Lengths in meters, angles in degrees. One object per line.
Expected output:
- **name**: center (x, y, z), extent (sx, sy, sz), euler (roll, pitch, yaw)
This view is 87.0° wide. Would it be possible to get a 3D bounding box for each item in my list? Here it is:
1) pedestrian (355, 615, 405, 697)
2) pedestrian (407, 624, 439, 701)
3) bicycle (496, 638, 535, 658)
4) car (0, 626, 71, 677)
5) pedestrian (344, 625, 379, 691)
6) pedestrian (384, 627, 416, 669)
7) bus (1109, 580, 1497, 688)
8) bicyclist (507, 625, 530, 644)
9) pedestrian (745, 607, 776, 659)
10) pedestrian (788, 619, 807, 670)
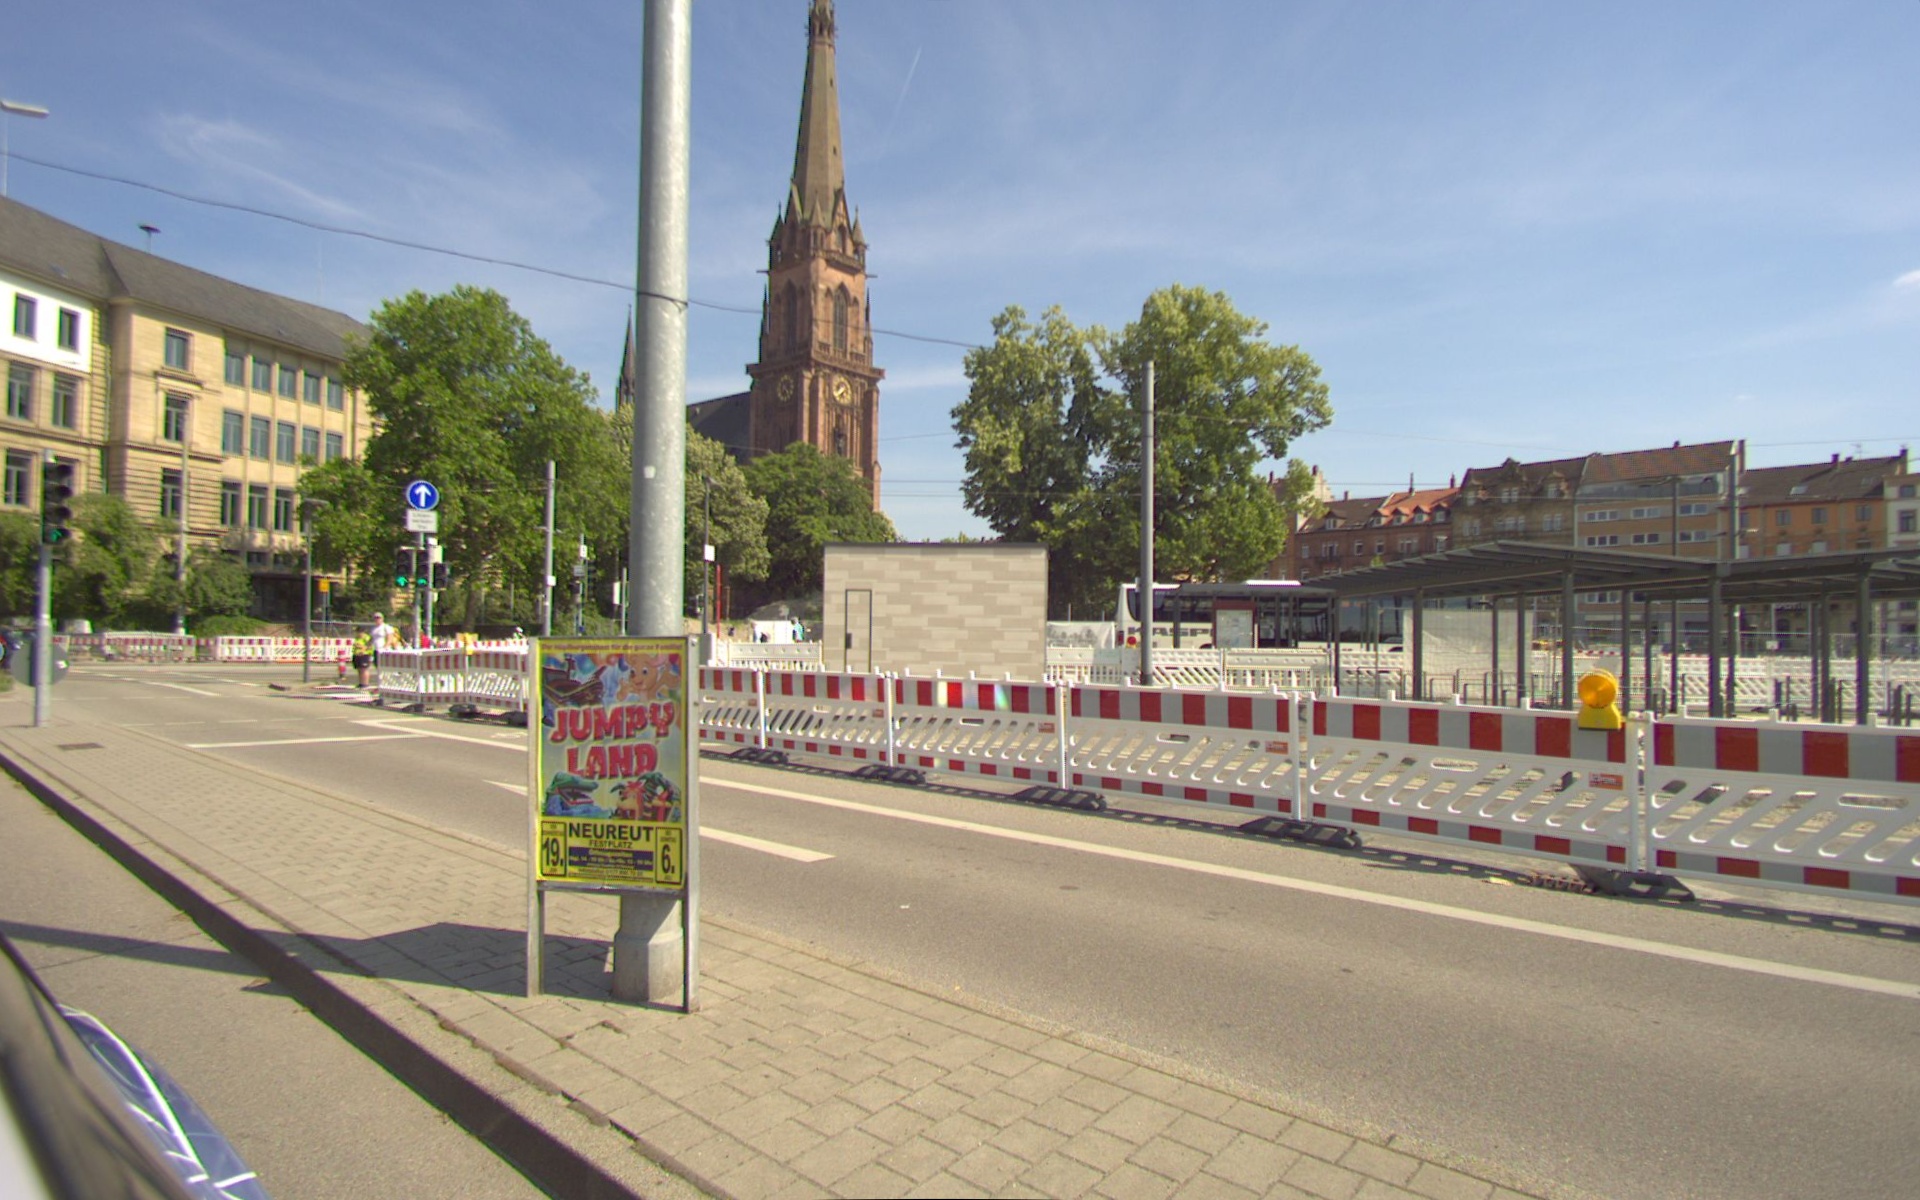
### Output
- **pedestrian**: center (-13.170, 1.260, 22.982), extent (0.828, 1.826, 0.650), euler (2, -3, -42)
- **pedestrian**: center (-11.524, 1.330, 21.722), extent (0.686, 1.628, 0.346), euler (-1, -3, 42)
- **bicycle**: center (-22.146, 2.398, 50.467), extent (1.643, 0.954, 0.701), euler (1, -2, 2)
- **car**: center (-28.517, 1.547, 30.828), extent (3.816, 1.462, 1.648), euler (-1, -4, 42)
- **pedestrian**: center (-14.554, 1.403, 24.609), extent (0.657, 1.555, 0.424), euler (-2, 0, -35)
- **pedestrian**: center (-22.778, 1.931, 41.151), extent (0.926, 1.668, 0.845), euler (2, -3, -41)
- **bus**: center (11.621, 1.170, 35.549), extent (12.504, 3.516, 2.856), euler (0, -2, 7)
- **bicyclist**: center (-22.021, 1.721, 50.480), extent (0.858, 0.934, 0.682), euler (1, -2, 2)
- **pedestrian**: center (-6.367, 1.044, 32.287), extent (0.780, 1.628, 0.664), euler (1, -2, -31)
- **pedestrian**: center (-5.239, 1.422, 32.573), extent (0.576, 1.628, 0.691), euler (0, -2, -10)
